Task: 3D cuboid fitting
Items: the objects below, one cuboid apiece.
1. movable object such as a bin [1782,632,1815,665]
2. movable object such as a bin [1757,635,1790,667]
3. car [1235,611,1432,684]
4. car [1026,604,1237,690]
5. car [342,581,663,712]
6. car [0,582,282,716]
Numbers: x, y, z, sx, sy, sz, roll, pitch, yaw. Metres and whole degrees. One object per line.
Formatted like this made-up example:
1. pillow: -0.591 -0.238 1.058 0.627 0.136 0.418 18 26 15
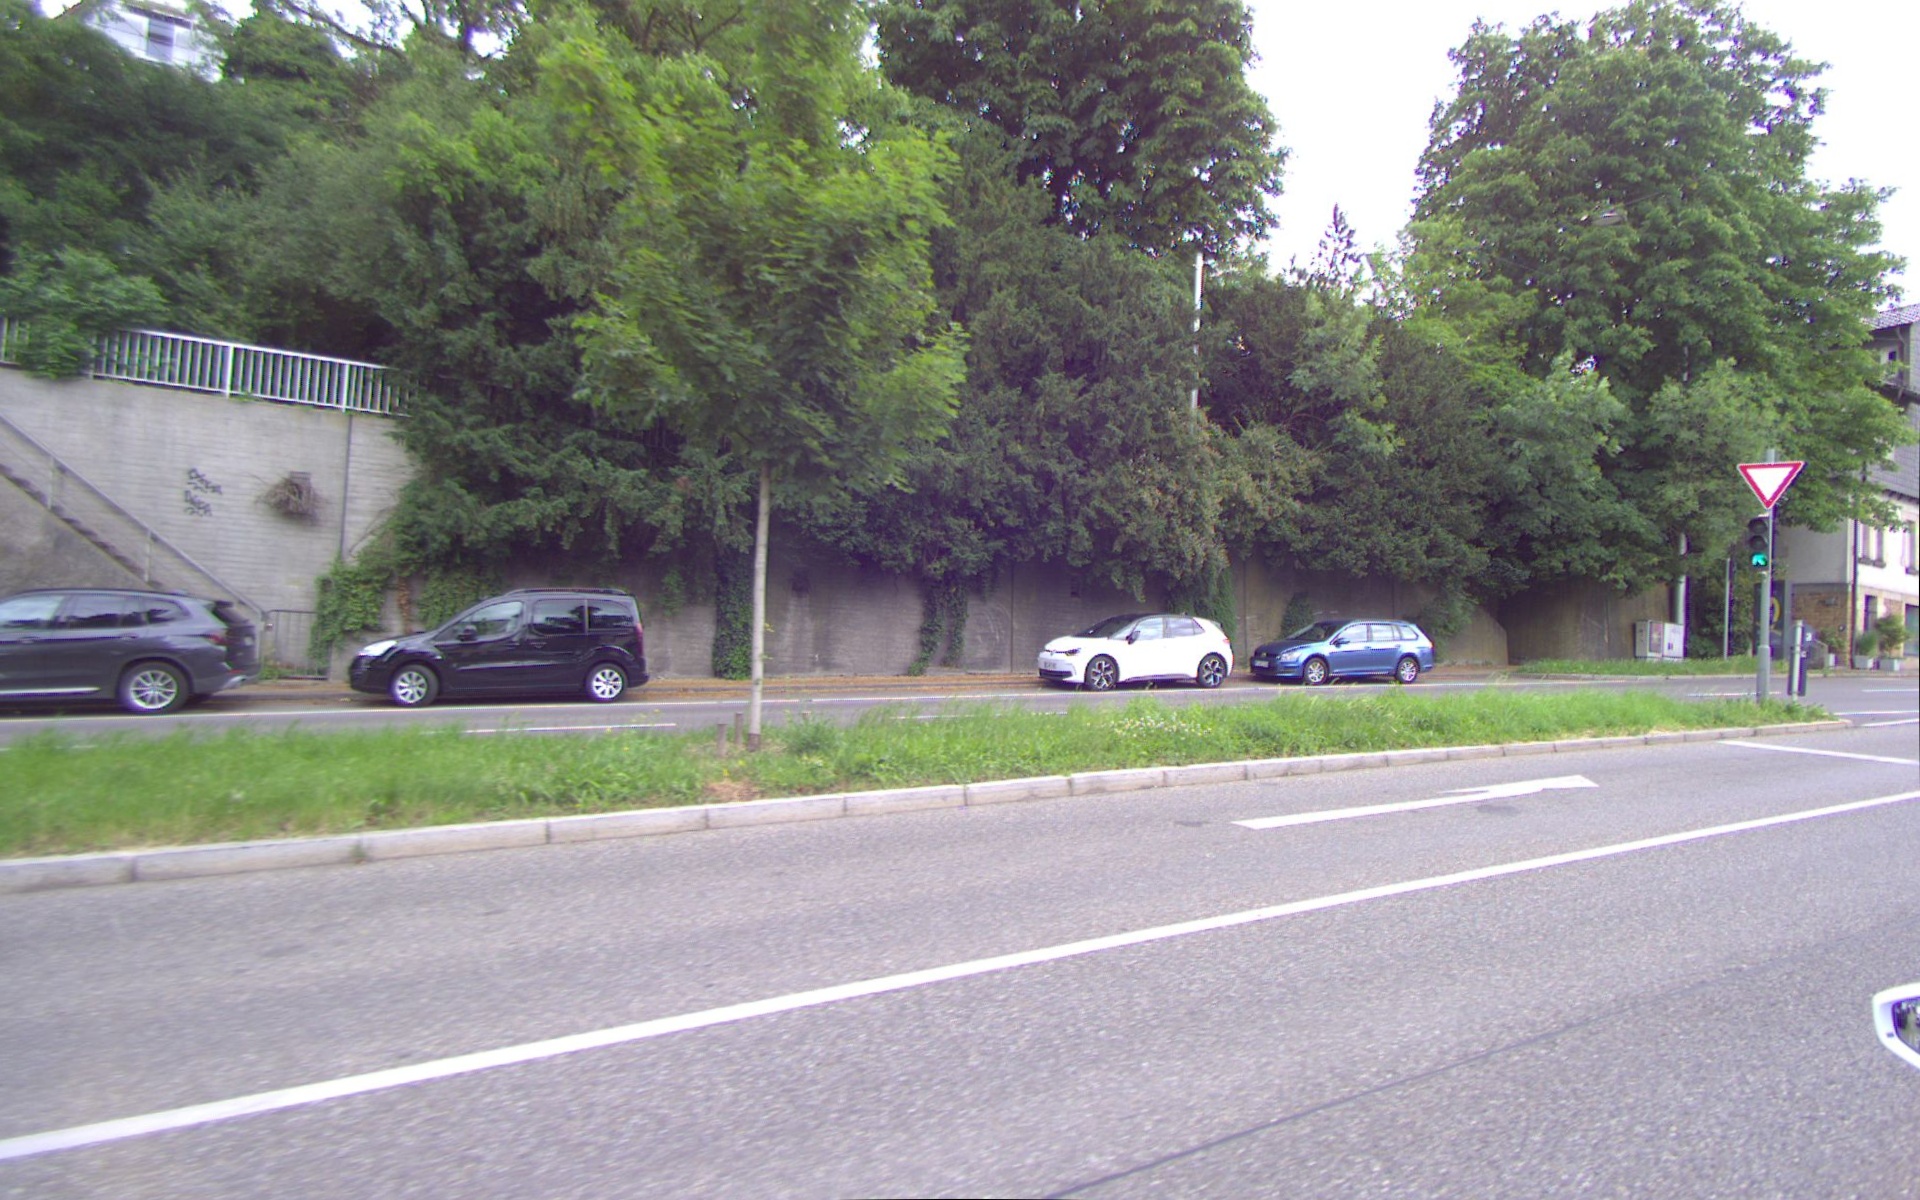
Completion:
1. movable object such as a bin: 27.429 1.590 32.849 0.636 1.032 0.538 3 -1 -16
2. movable object such as a bin: 27.227 1.712 33.632 0.636 1.032 0.578 3 -1 -16
3. car: 8.674 1.066 23.336 4.237 1.549 1.709 1 0 -21
4. car: 3.631 0.945 21.246 4.113 1.650 1.775 1 0 -25
5. car: -7.179 0.679 16.080 4.429 1.867 1.774 1 0 -26
6. car: -12.140 0.626 13.711 4.471 1.679 1.963 2 0 -25
